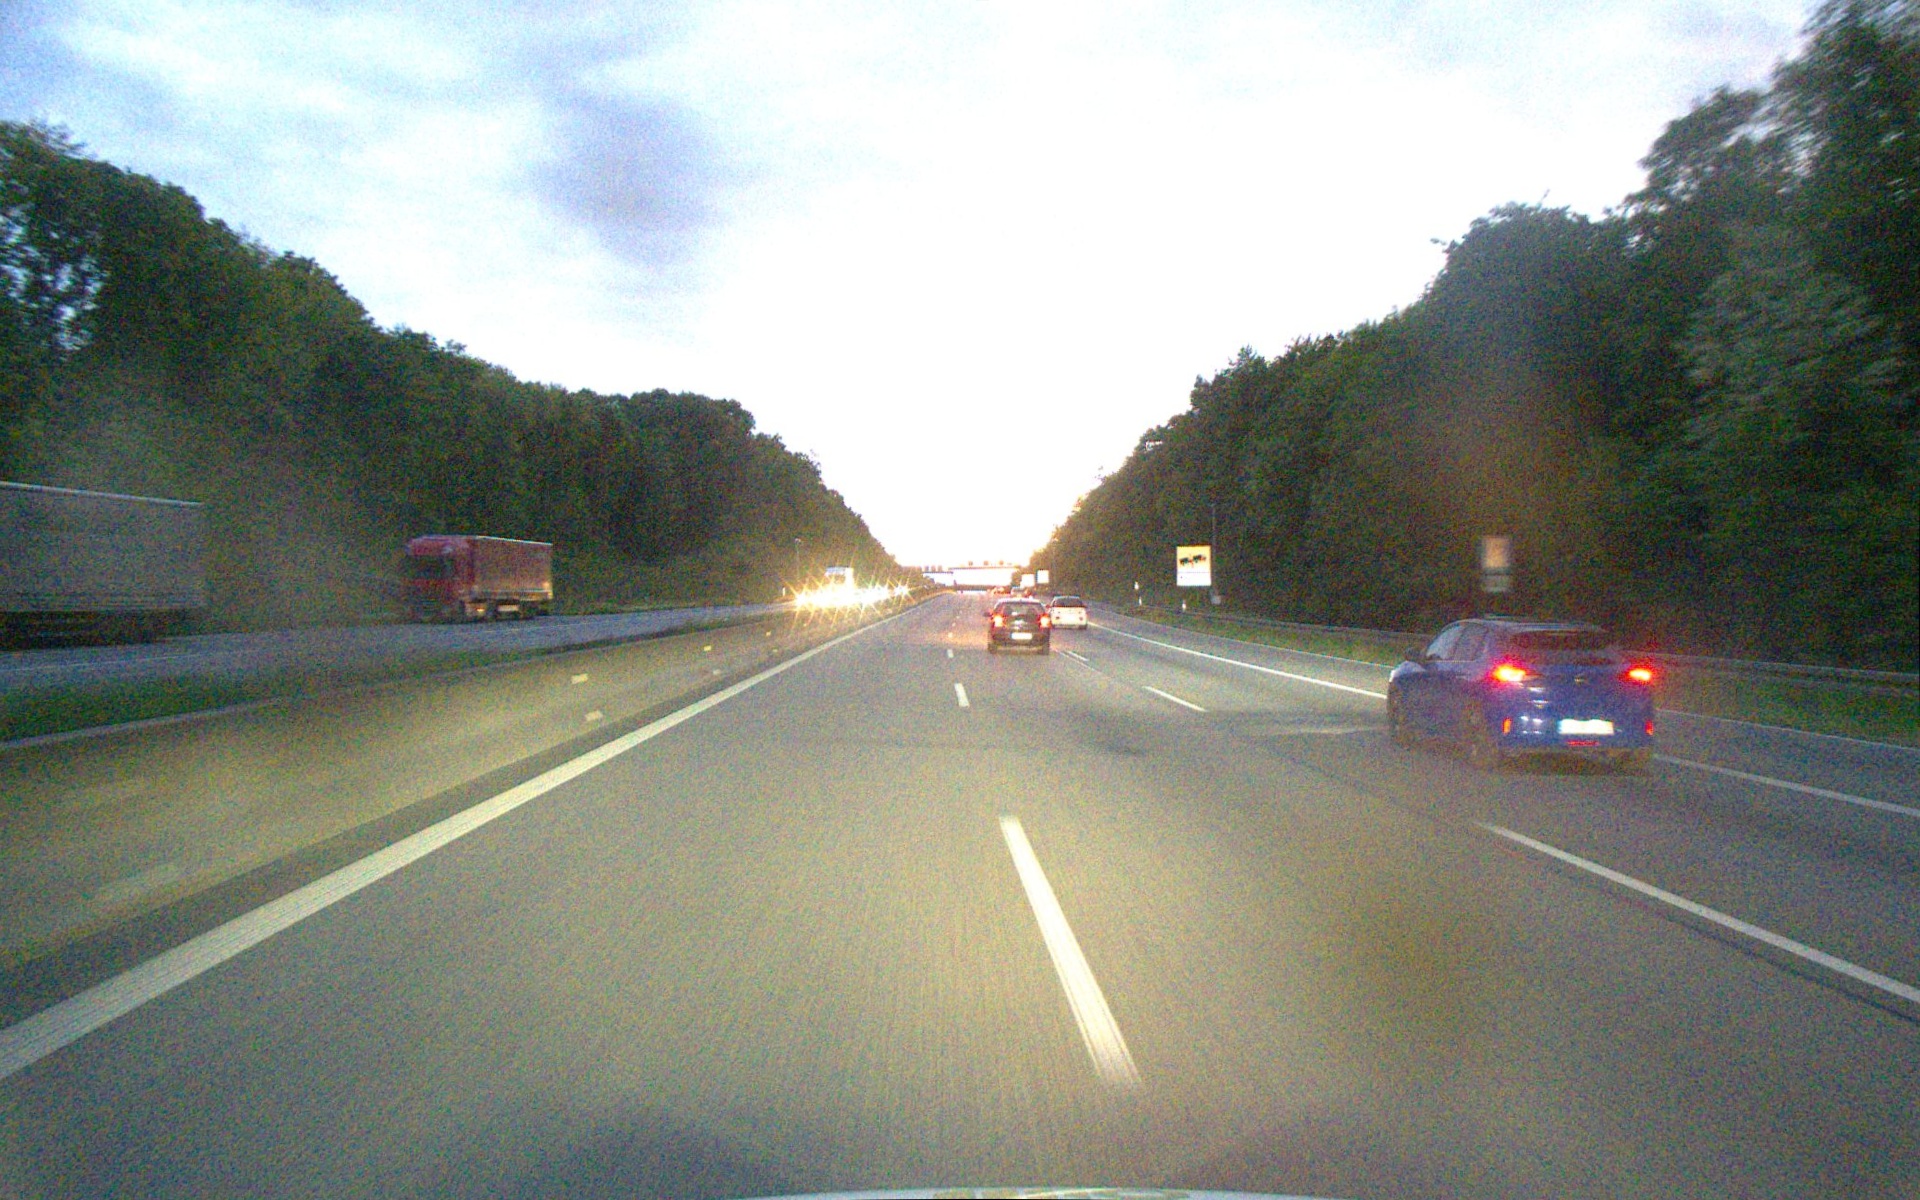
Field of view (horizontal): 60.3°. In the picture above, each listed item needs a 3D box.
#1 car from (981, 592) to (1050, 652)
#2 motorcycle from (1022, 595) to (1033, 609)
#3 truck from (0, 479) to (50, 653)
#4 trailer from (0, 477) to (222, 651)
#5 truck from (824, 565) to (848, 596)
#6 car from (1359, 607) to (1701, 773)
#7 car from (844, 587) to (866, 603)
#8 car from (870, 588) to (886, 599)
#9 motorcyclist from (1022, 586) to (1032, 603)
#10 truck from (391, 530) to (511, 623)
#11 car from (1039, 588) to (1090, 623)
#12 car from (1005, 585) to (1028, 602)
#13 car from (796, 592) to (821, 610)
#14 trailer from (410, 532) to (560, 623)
[{"bbox_3d":[1.480,0.609,45.541,1.669,1.536,4.231,1,-1,-1],"label":"car"},{"bbox_3d":[5.477,0.146,135.009,0.812,1.154,2.476,0,0,0],"label":"motorcycle"},{"bbox_3d":[-24.571,-0.837,37.770,3.125,4.176,7.690,1,0,1],"label":"truck"},{"bbox_3d":[-24.433,-0.865,44.007,3.125,4.176,13.741,1,0,1],"label":"trailer"},{"bbox_3d":[-15.953,-2.498,213.066,2.592,4.041,7.122,0,0,0],"label":"truck"},{"bbox_3d":[5.756,0.829,17.371,1.828,1.461,4.581,1,0,-2],"label":"car"},{"bbox_3d":[-9.500,-0.438,149.550,1.813,1.406,4.643,0,0,-2],"label":"car"},{"bbox_3d":[-11.687,-0.953,235.524,1.871,1.477,5.355,0,0,1],"label":"car"},{"bbox_3d":[5.474,-0.448,134.946,0.812,1.314,1.190,0,0,0],"label":"motorcyclist"},{"bbox_3d":[-24.026,-1.066,78.541,3.125,4.176,7.690,1,0,1],"label":"truck"},{"bbox_3d":[4.745,0.265,75.650,1.789,1.501,4.395,1,-1,-4],"label":"car"},{"bbox_3d":[5.561,-0.614,164.313,1.828,1.520,4.395,1,-1,-4],"label":"car"},{"bbox_3d":[-12.612,0.067,138.207,1.651,1.541,4.414,0,0,0],"label":"car"},{"bbox_3d":[-23.888,-1.027,84.292,3.125,4.176,14.186,1,0,1],"label":"trailer"}]
